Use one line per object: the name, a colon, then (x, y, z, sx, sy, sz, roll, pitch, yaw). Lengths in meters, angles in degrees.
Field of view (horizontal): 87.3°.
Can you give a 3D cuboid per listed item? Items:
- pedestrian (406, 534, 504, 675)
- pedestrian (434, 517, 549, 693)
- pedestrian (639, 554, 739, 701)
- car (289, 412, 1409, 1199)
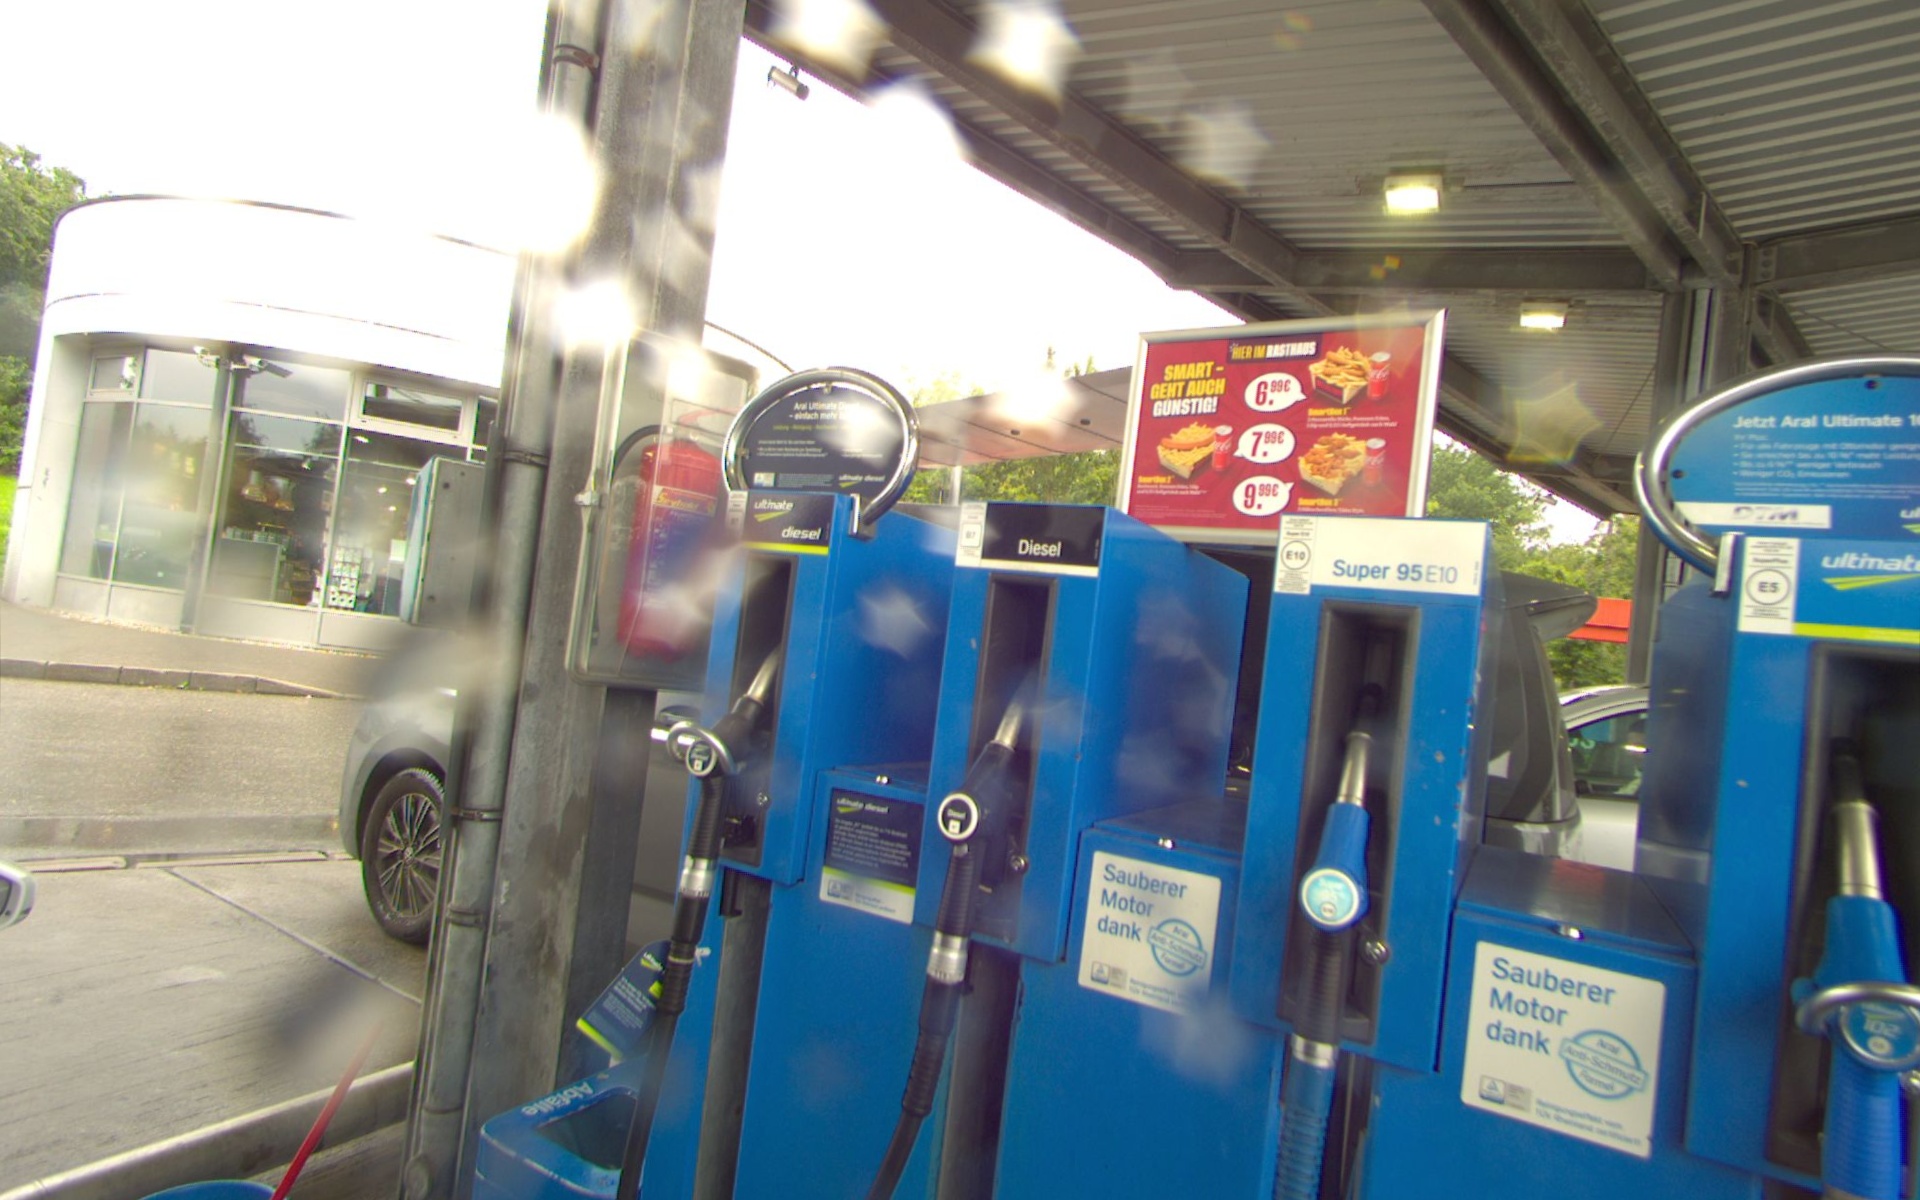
pedestrian: (-6.115, 0.054, 12.178, 0.882, 1.569, 0.655, 7, 0, -29)
pedestrian: (-5.405, 0.063, 11.591, 0.965, 1.871, 0.767, 7, 0, -30)
pedestrian: (-3.765, 0.373, 13.963, 0.990, 1.887, 0.793, 7, 0, -30)
car: (-0.582, 0.472, 3.987, 3.934, 1.971, 1.819, 7, -1, 32)
